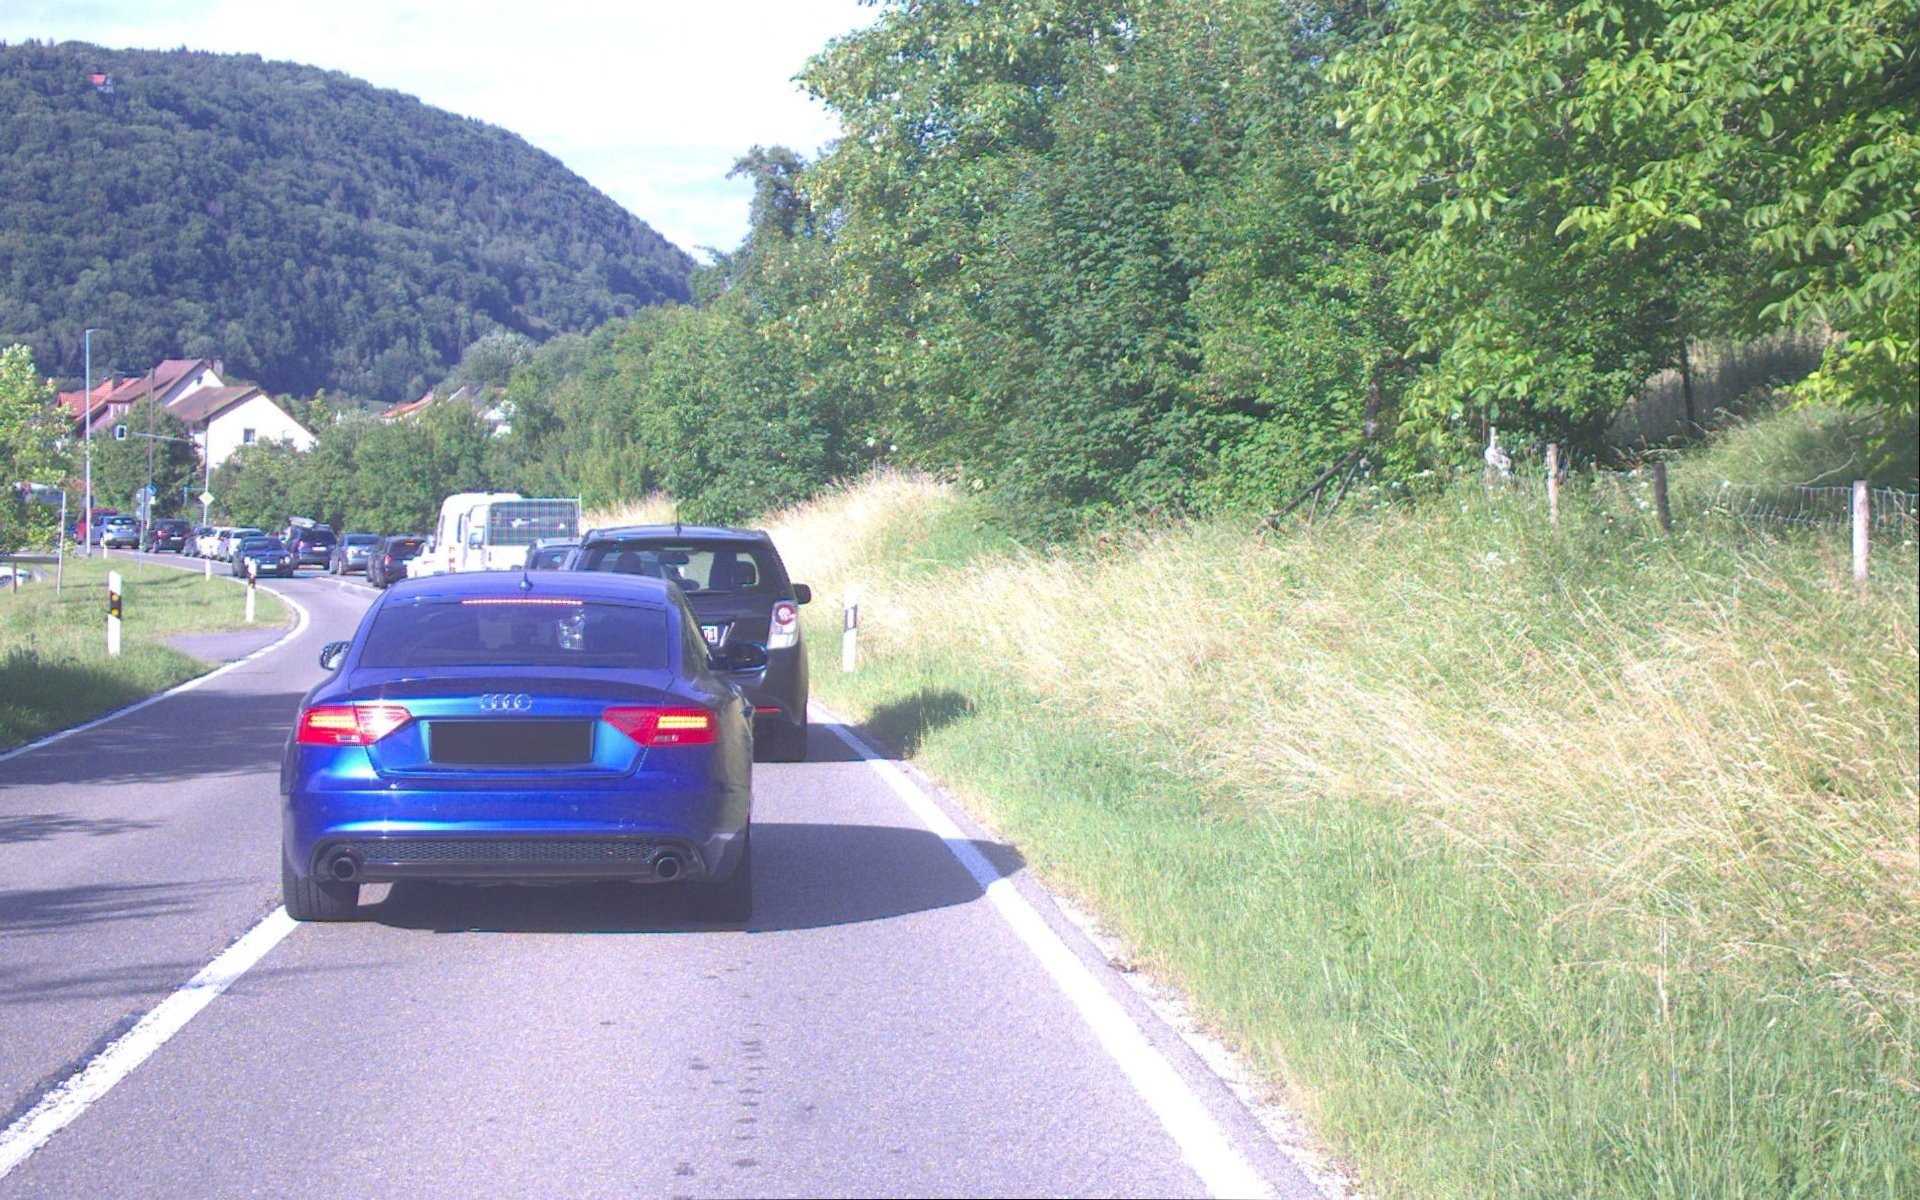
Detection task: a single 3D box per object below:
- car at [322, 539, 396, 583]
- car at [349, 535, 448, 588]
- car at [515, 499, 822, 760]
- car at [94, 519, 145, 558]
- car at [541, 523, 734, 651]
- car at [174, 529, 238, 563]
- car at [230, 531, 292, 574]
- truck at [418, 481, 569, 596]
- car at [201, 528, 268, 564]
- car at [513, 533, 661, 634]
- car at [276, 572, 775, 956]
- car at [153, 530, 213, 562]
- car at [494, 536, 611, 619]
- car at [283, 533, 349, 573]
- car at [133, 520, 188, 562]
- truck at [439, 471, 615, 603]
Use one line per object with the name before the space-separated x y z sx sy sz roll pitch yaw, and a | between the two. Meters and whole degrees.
car | -20.989 -1.370 120.029 1.993 1.477 4.001 1 1 -18
car | -16.192 -1.104 99.017 1.993 1.477 4.001 1 1 -22
car | -2.049 0.177 24.688 1.993 1.696 4.001 1 0 -4
car | -44.032 -3.206 180.084 1.993 2.007 4.001 1 1 -23
car | -3.804 -0.164 39.961 1.993 1.382 4.001 1 1 -9
car | -33.542 -2.408 152.860 1.993 1.477 4.001 1 1 -24
car | -23.342 -1.576 114.875 1.993 1.371 4.001 1 1 -11
truck | -11.795 -1.534 86.056 2.863 2.656 10.648 1 1 -12
car | -30.895 -2.297 146.411 1.993 1.477 4.001 1 1 -24
car | -5.810 -0.267 53.179 1.993 1.477 4.001 1 1 -10
car | -1.727 0.574 14.453 1.793 1.355 4.001 0 1 -5
car | -36.197 -2.509 160.061 1.993 1.477 4.001 1 1 -24
car | -7.594 -0.427 63.818 1.993 1.477 4.001 1 1 -9
car | -24.662 -1.807 131.523 1.993 1.477 4.001 1 1 -18
car | -39.485 -2.903 169.799 1.993 2.007 4.001 1 1 -23
truck | -9.603 -1.374 75.220 2.863 2.656 10.396 1 1 -12
